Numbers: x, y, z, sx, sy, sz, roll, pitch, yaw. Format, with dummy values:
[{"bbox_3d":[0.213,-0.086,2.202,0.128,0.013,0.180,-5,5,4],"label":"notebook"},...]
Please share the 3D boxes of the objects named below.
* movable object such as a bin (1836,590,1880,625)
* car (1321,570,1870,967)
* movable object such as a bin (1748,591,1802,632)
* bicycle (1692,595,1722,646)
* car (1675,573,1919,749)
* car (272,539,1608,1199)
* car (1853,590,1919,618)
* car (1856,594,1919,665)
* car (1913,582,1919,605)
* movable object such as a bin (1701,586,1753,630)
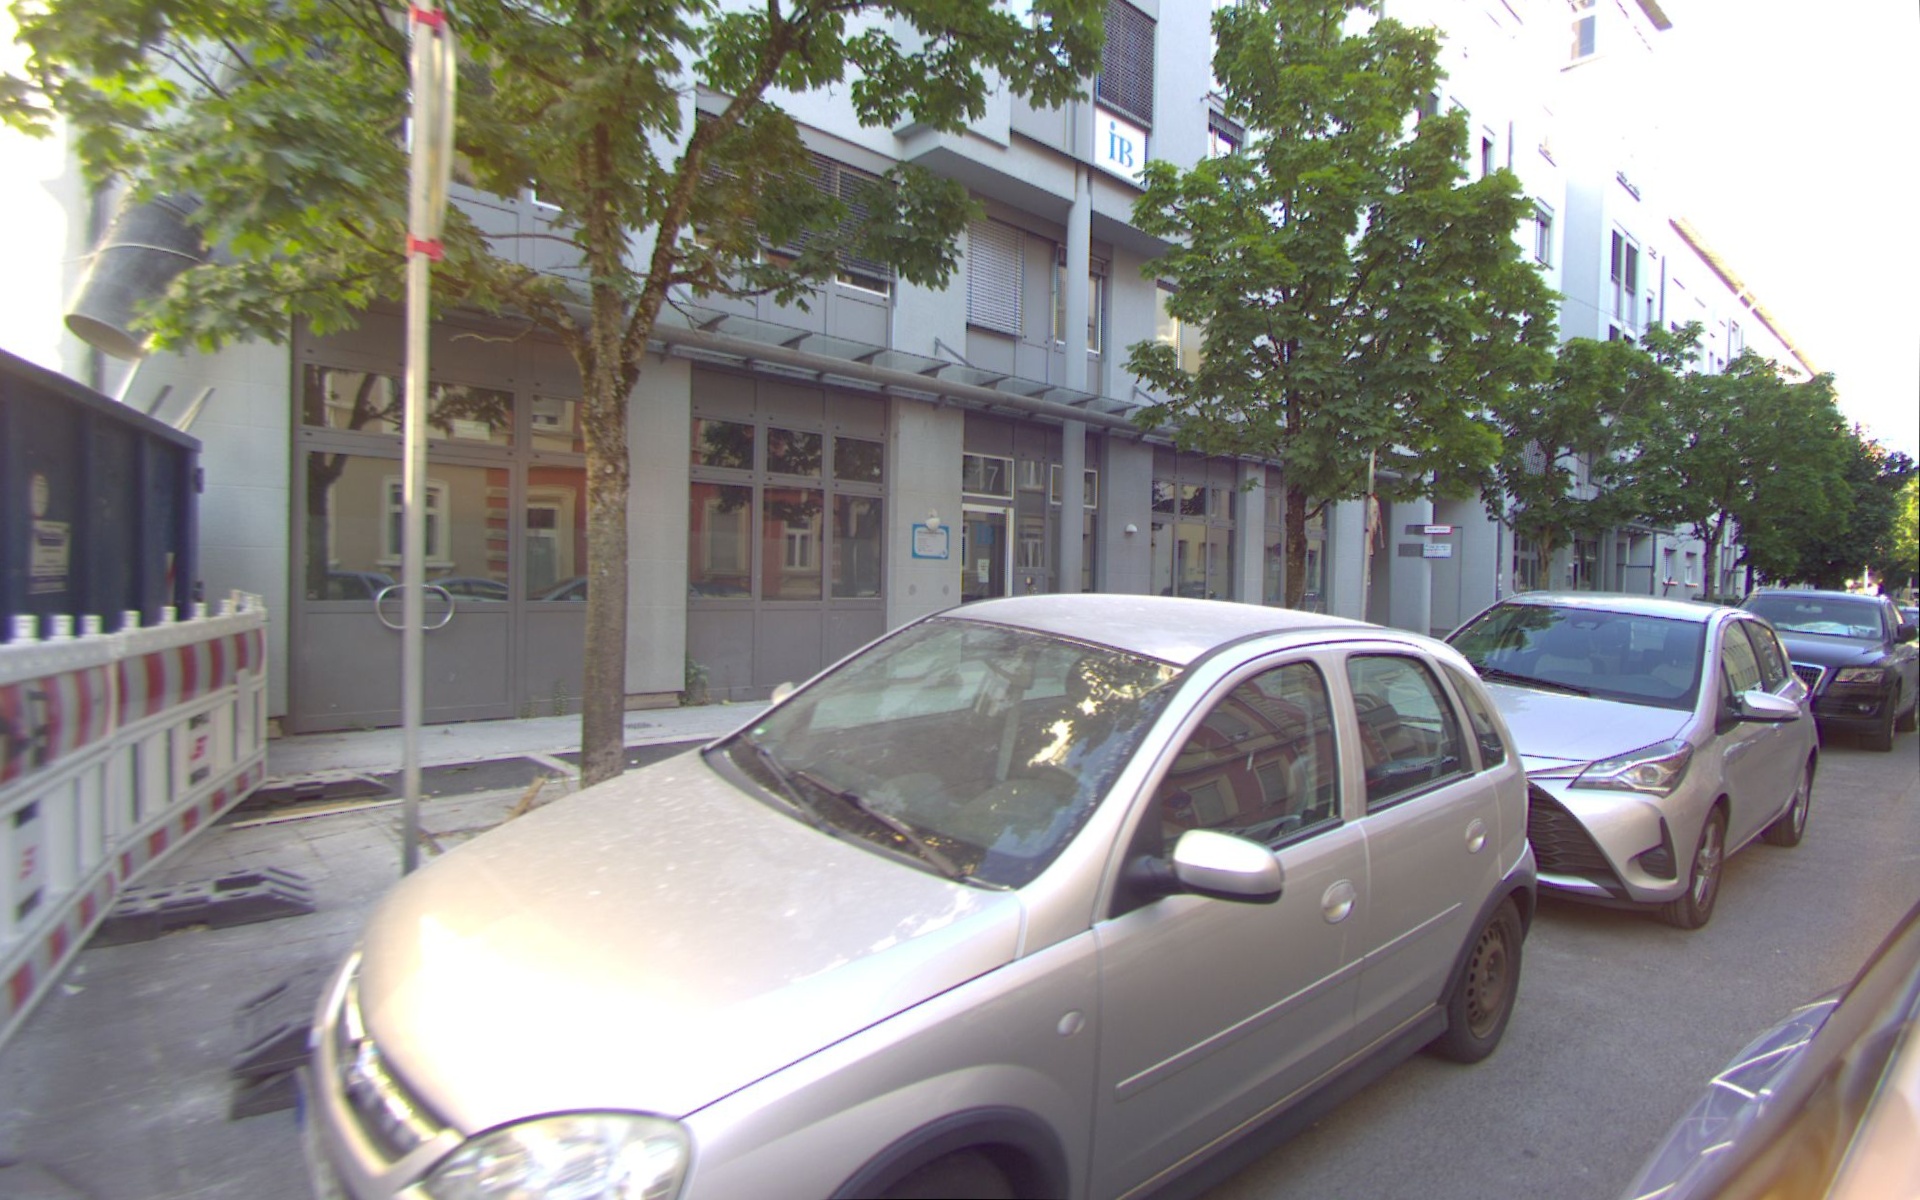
[{"bbox_3d":[39.301,0.319,44.289,1.202,1.454,1.286,0,2,-43],"label":"movable object such as a bin"},{"bbox_3d":[3.940,0.658,6.001,3.902,1.543,1.680,0,3,-42],"label":"car"},{"bbox_3d":[28.359,0.391,35.228,1.119,1.337,1.263,0,2,-43],"label":"movable object such as a bin"},{"bbox_3d":[18.245,0.480,24.733,0.519,1.182,1.717,4,3,36],"label":"bicycle"},{"bbox_3d":[10.183,0.567,11.982,4.359,1.642,1.888,0,3,-43],"label":"car"},{"bbox_3d":[0.279,0.648,2.977,3.663,1.493,1.680,0,3,-40],"label":"car"},{"bbox_3d":[59.171,0.275,63.878,1.967,1.584,3.991,0,3,-44],"label":"car"},{"bbox_3d":[21.875,0.642,23.036,4.271,1.446,1.766,0,3,-43],"label":"car"},{"bbox_3d":[96.214,-0.585,99.818,2.148,2.311,6.134,4,3,33],"label":"car"},{"bbox_3d":[27.309,0.272,36.028,1.119,1.454,1.263,0,2,-43],"label":"movable object such as a bin"}]
